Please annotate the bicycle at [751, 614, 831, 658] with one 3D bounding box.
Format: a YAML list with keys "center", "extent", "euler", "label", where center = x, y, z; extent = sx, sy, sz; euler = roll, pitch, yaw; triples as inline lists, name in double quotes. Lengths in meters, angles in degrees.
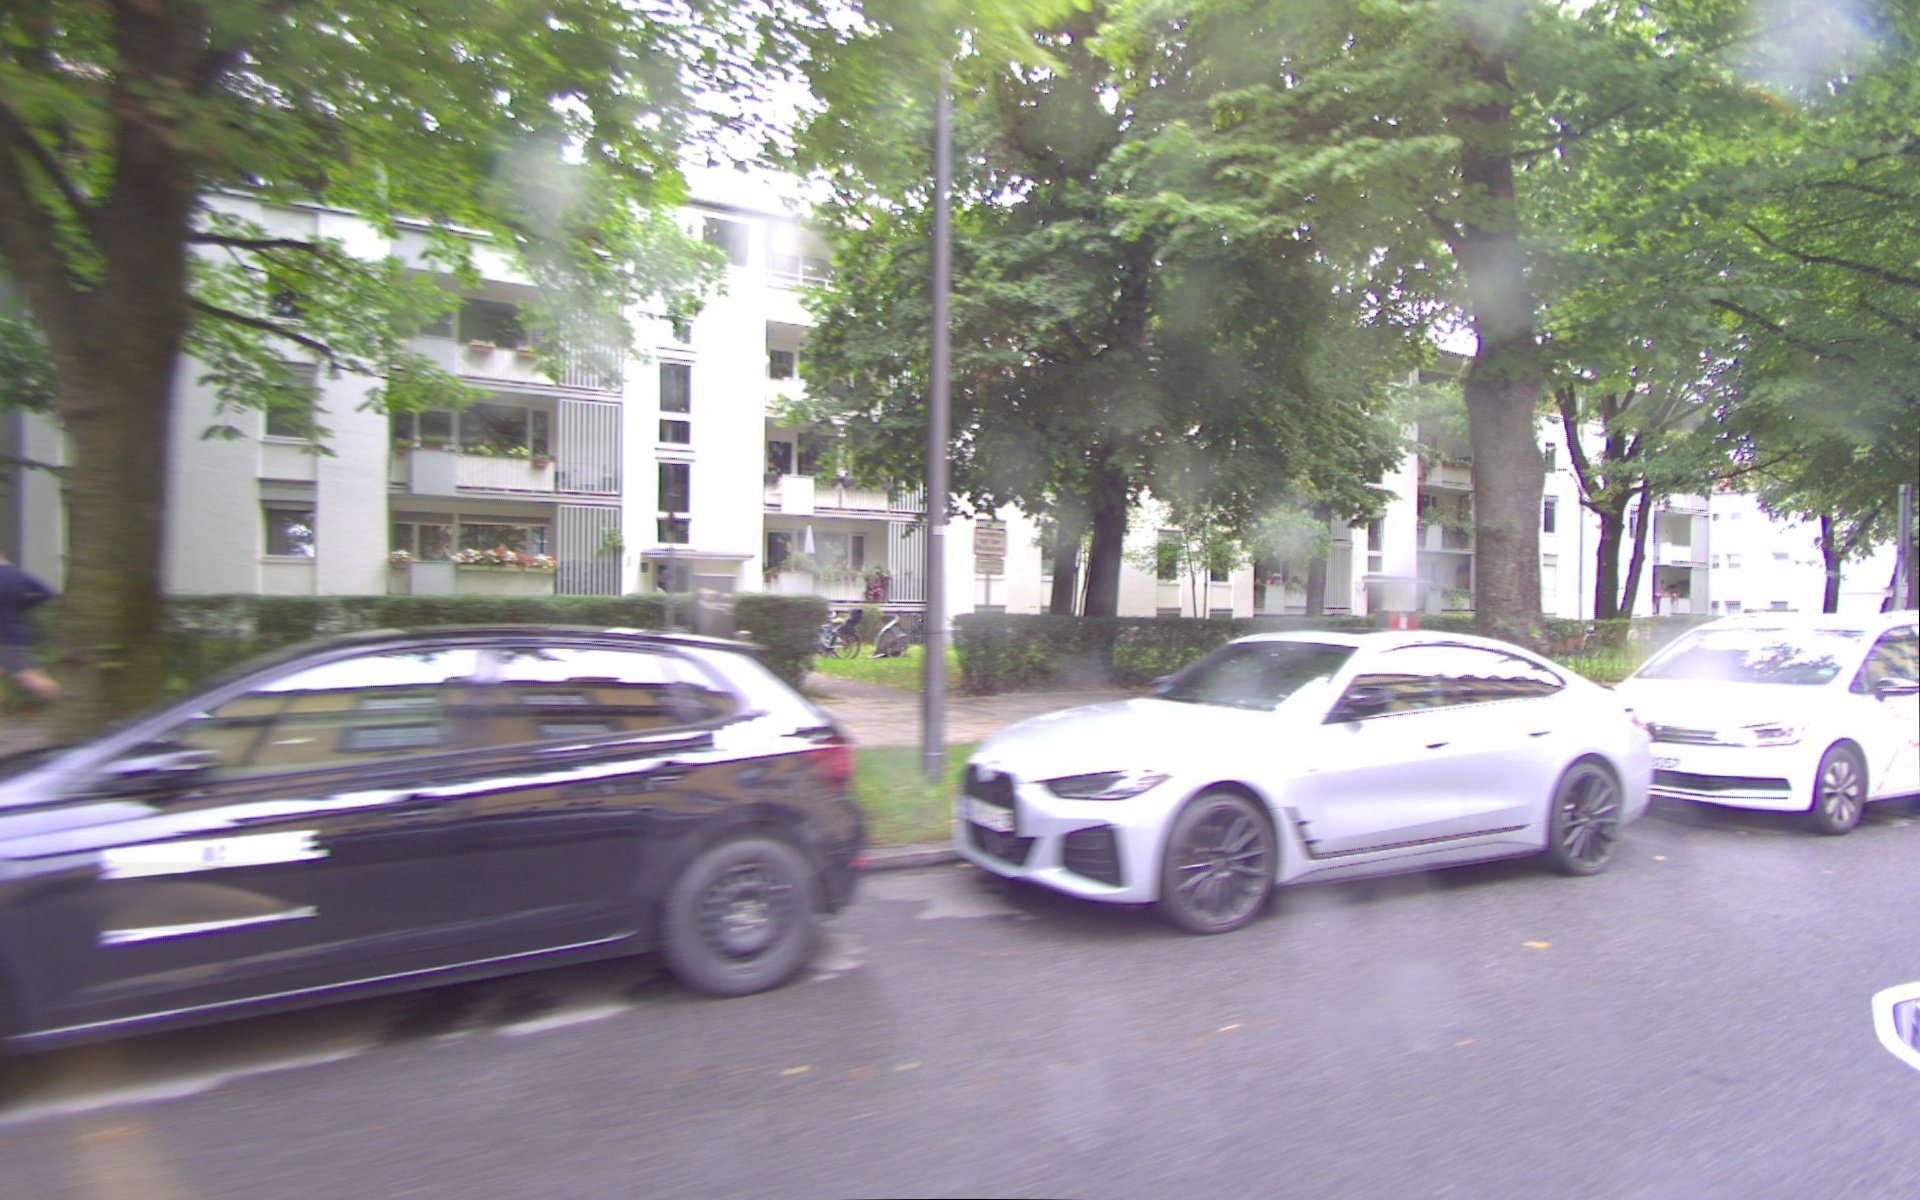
- center: [-4.256, 0.886, 25.272]
  extent: [1.880, 1.051, 0.637]
  euler: [1, 1, -30]
  label: "bicycle"

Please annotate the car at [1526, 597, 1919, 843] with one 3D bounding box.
- center: [7.103, 0.891, 8.471]
  extent: [4.460, 1.643, 1.761]
  euler: [1, -3, -24]
  label: "car"

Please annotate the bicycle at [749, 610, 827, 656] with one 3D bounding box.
- center: [-4.424, 0.841, 25.949]
  extent: [1.880, 1.122, 0.637]
  euler: [1, 1, -30]
  label: "bicycle"

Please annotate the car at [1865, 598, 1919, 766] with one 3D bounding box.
- center: [12.816, 0.928, 11.434]
  extent: [4.853, 1.820, 1.988]
  euler: [1, -2, -25]
  label: "car"

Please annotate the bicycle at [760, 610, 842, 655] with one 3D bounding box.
- center: [-3.875, 0.776, 24.587]
  extent: [1.880, 1.051, 0.637]
  euler: [1, 1, -30]
  label: "bicycle"

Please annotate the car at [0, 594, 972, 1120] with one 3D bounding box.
- center: [-2.128, 0.755, 4.096]
  extent: [4.052, 1.489, 1.666]
  euler: [2, -1, -28]
  label: "car"

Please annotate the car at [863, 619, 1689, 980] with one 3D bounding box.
- center: [2.044, 0.911, 6.126]
  extent: [4.931, 1.489, 1.803]
  euler: [2, -1, -26]
  label: "car"

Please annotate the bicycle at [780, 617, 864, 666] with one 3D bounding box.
- center: [-3.261, 0.965, 23.798]
  extent: [1.880, 1.095, 0.637]
  euler: [1, 1, -30]
  label: "bicycle"
